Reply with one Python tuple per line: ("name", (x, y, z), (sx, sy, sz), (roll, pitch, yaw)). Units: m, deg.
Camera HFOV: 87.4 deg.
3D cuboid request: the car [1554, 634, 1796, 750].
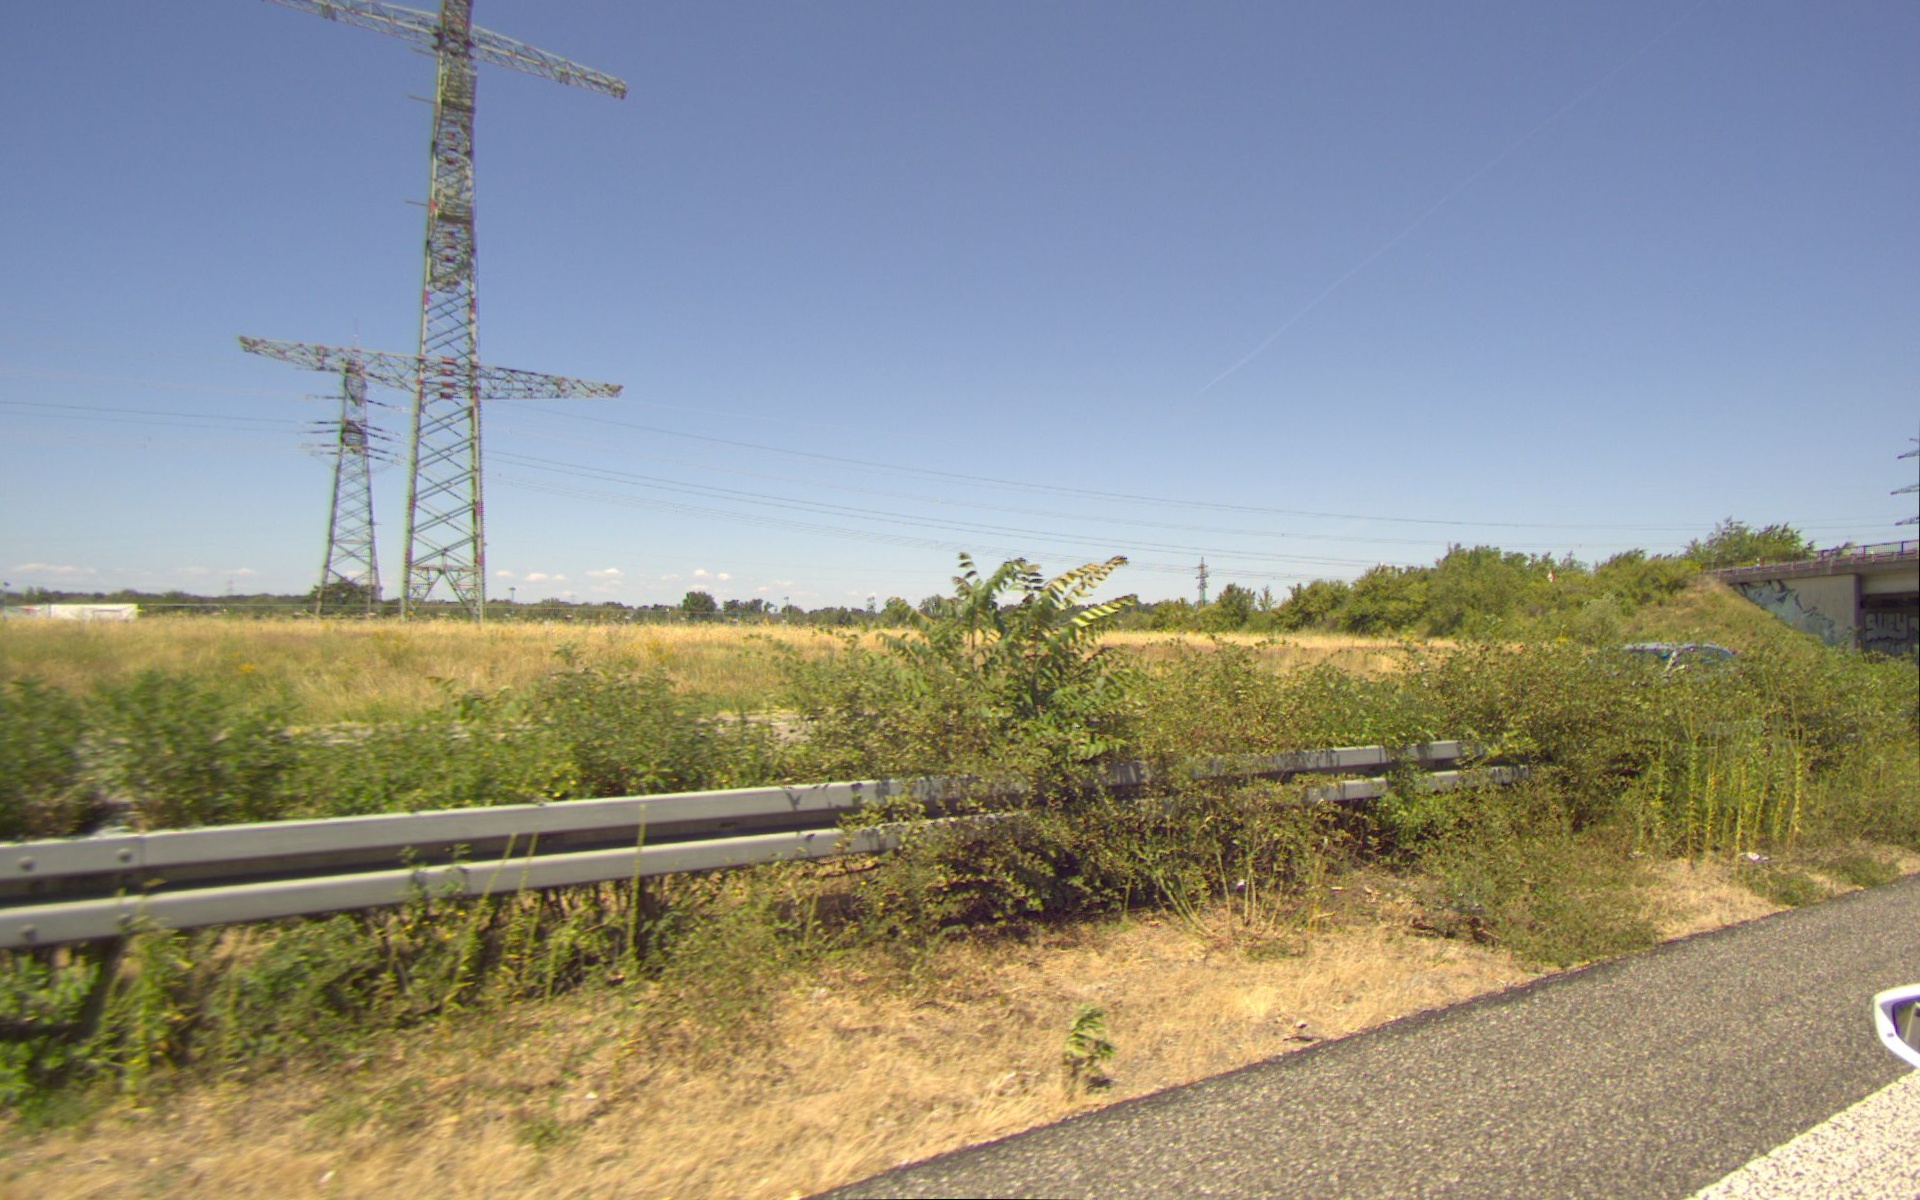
("car", (12.809, 1.565, 17.948), (4.361, 1.803, 1.909), (2, -2, -30))
